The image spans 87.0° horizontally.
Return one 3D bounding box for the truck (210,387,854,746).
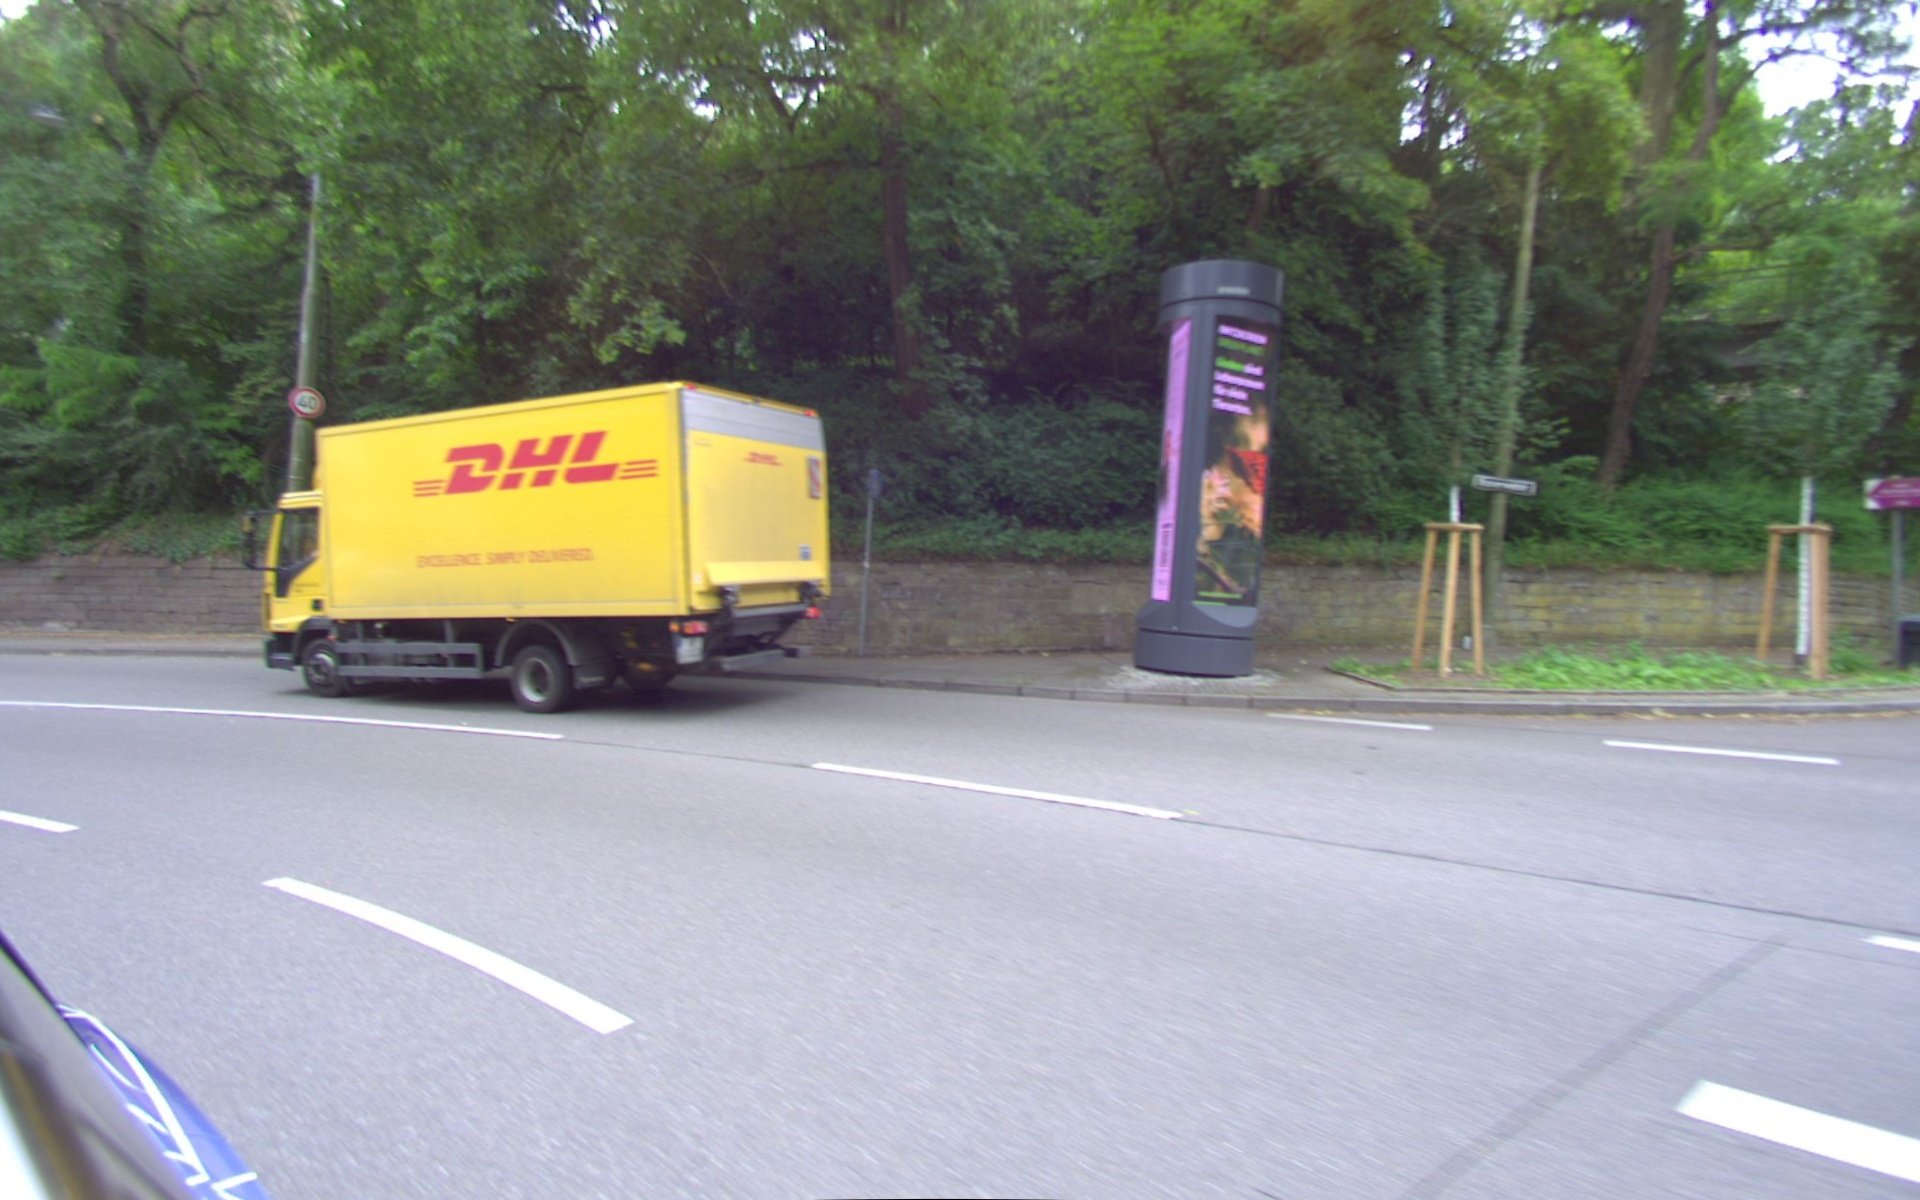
[{"bbox_3d":[-5.257,-0.347,12.212,7.539,3.324,2.736,0,3,25],"label":"truck"}]
